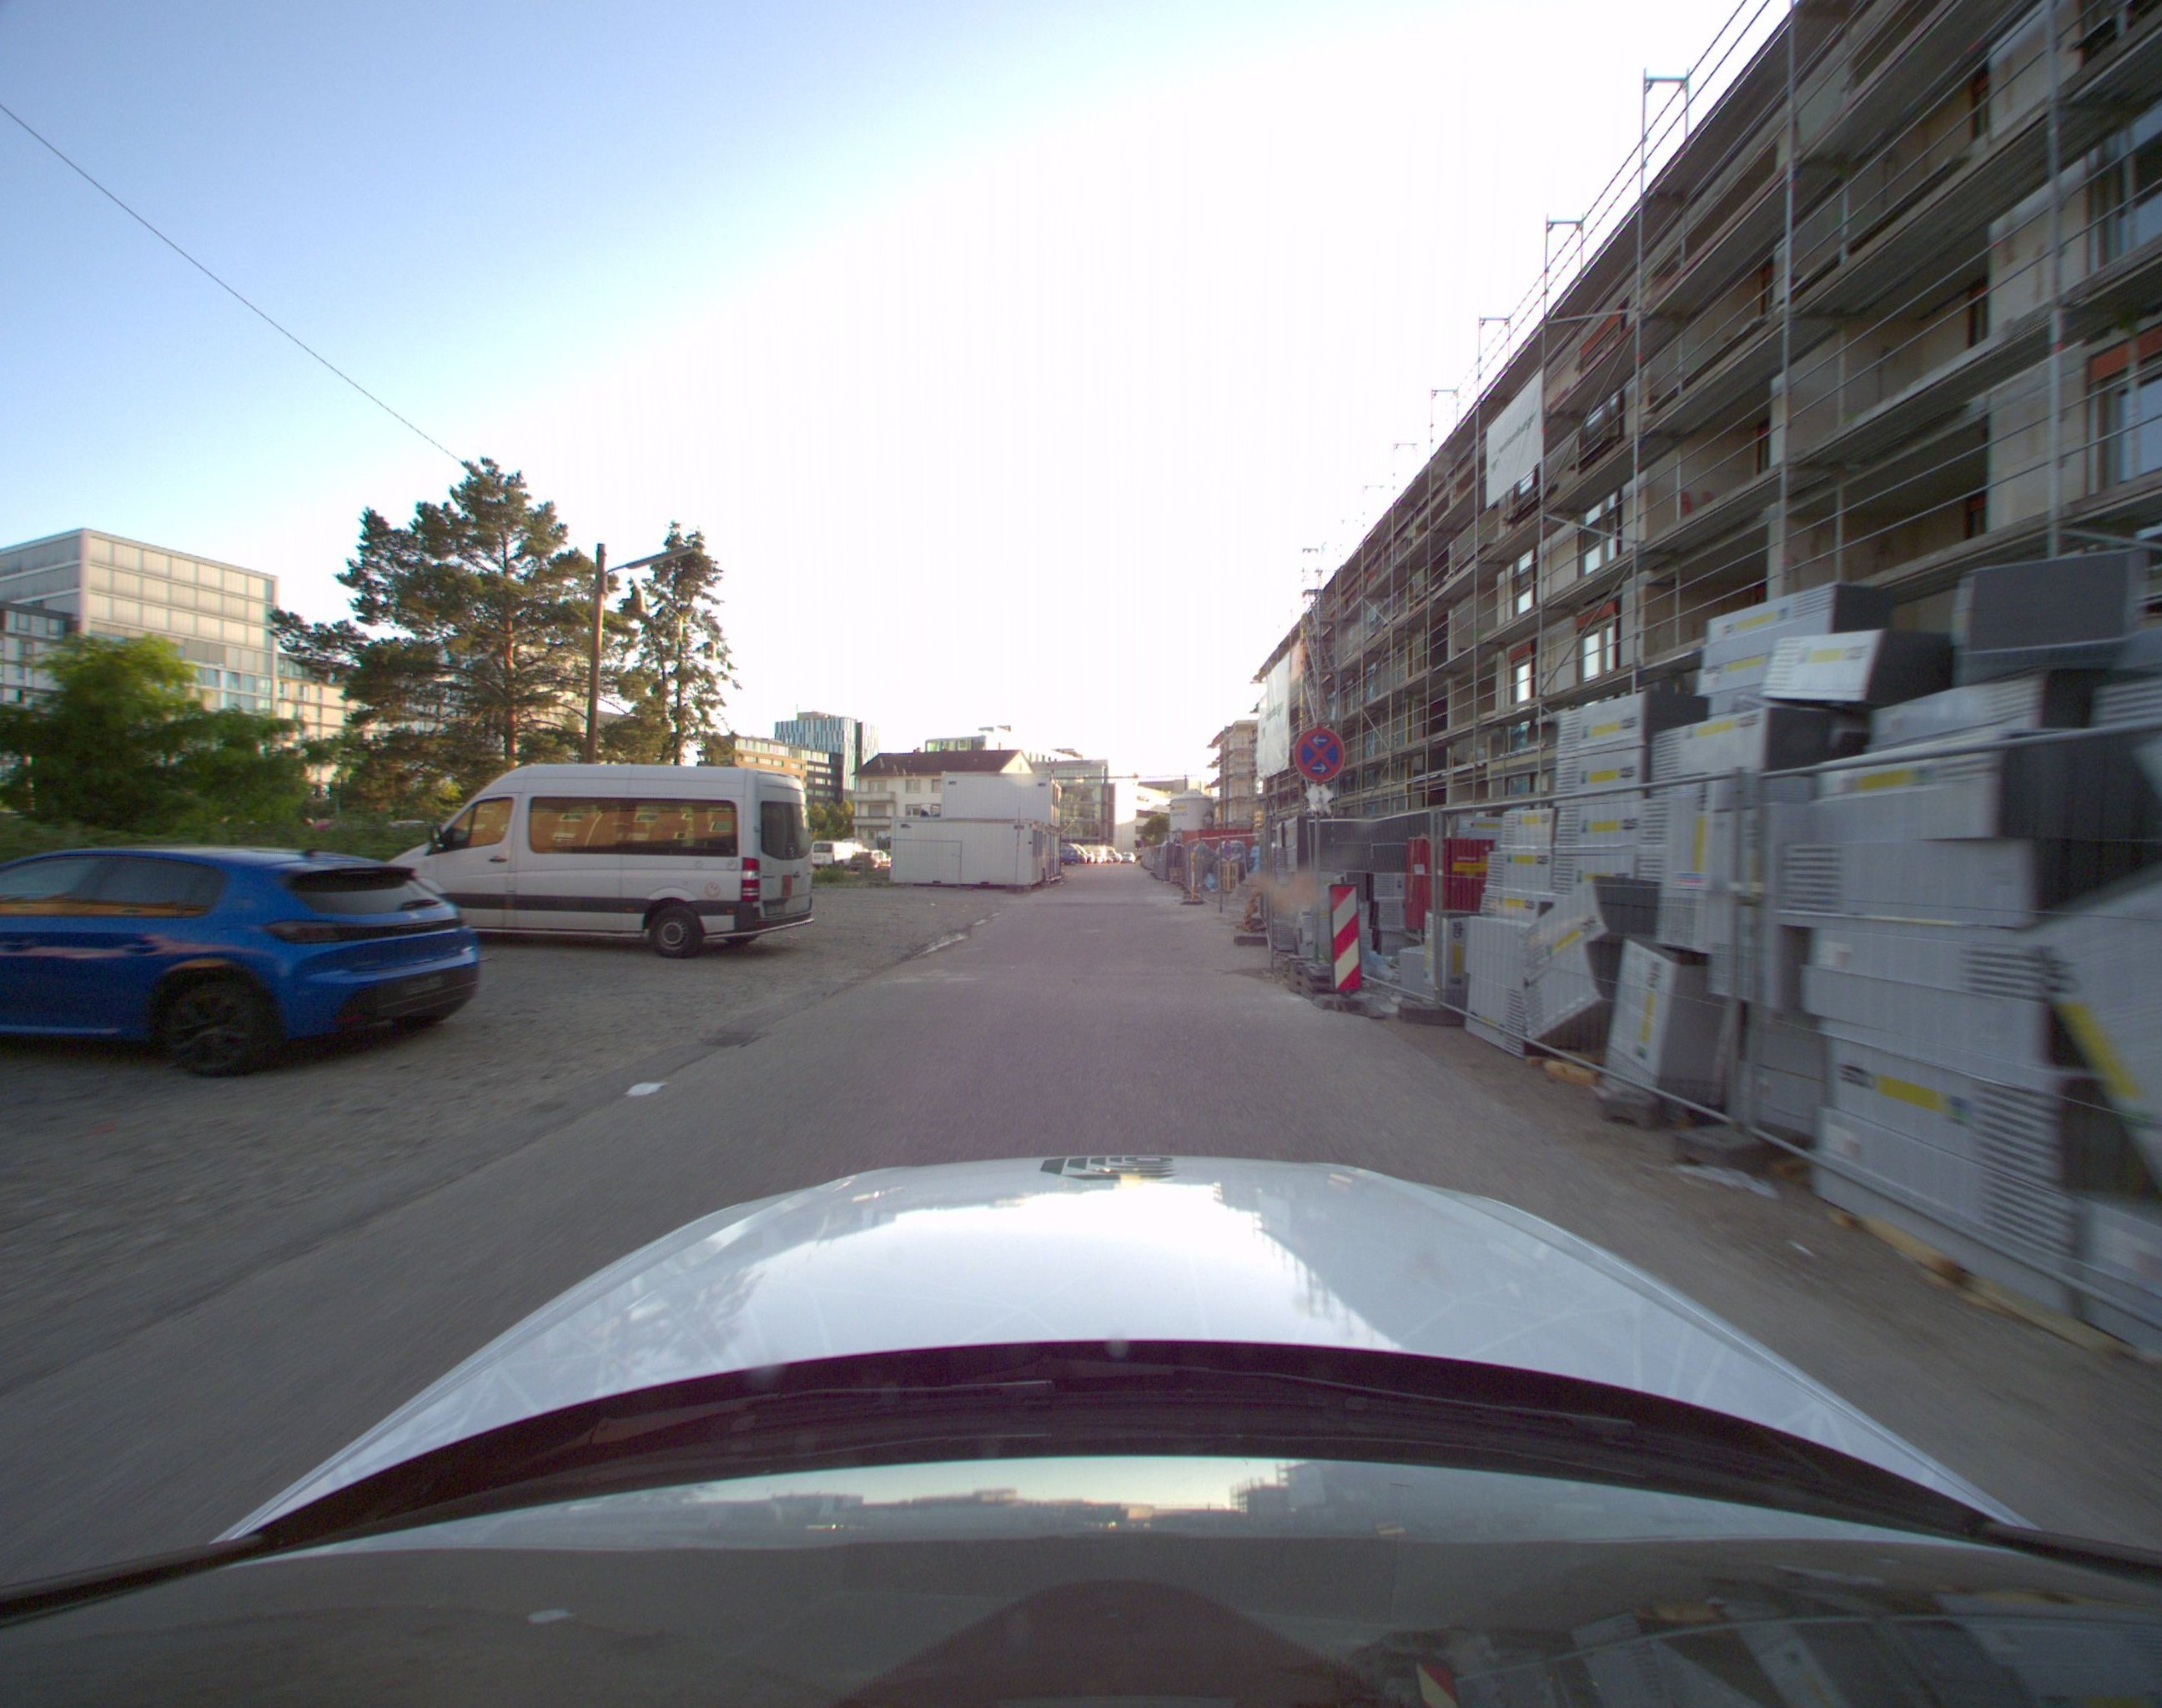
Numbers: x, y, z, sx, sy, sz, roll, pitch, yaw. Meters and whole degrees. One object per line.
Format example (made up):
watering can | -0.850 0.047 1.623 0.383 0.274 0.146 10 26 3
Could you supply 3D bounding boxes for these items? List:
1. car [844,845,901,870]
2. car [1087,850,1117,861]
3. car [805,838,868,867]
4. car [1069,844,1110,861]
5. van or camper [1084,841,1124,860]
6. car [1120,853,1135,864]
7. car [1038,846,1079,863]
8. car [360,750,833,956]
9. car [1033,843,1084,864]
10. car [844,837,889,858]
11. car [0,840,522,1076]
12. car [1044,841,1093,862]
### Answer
car | -14.944 0.251 58.672 2.000 1.653 5.072 1 0 10
car | 3.343 0.204 130.610 4.474 1.648 2.006 0 0 11
car | -17.790 -0.091 59.531 2.294 2.013 5.072 1 0 10
car | 1.264 -0.200 122.574 5.882 2.490 2.007 0 0 13
van or camper | 3.833 -0.613 136.278 6.286 2.979 2.302 1 0 15
car | 6.963 0.633 122.265 1.654 1.529 3.923 0 0 12
car | -2.491 0.068 89.638 4.493 1.868 1.998 0 0 -3
car | -6.913 -0.040 12.070 5.663 2.626 2.224 2 0 4
car | -2.850 -0.019 103.604 6.302 2.651 2.002 0 0 3
car | -21.554 -0.641 81.997 2.292 2.013 5.075 1 0 13
car | -6.710 0.652 6.067 3.824 1.429 1.727 2 0 0
car | -1.568 -0.286 107.392 6.302 2.741 2.002 0 0 3
